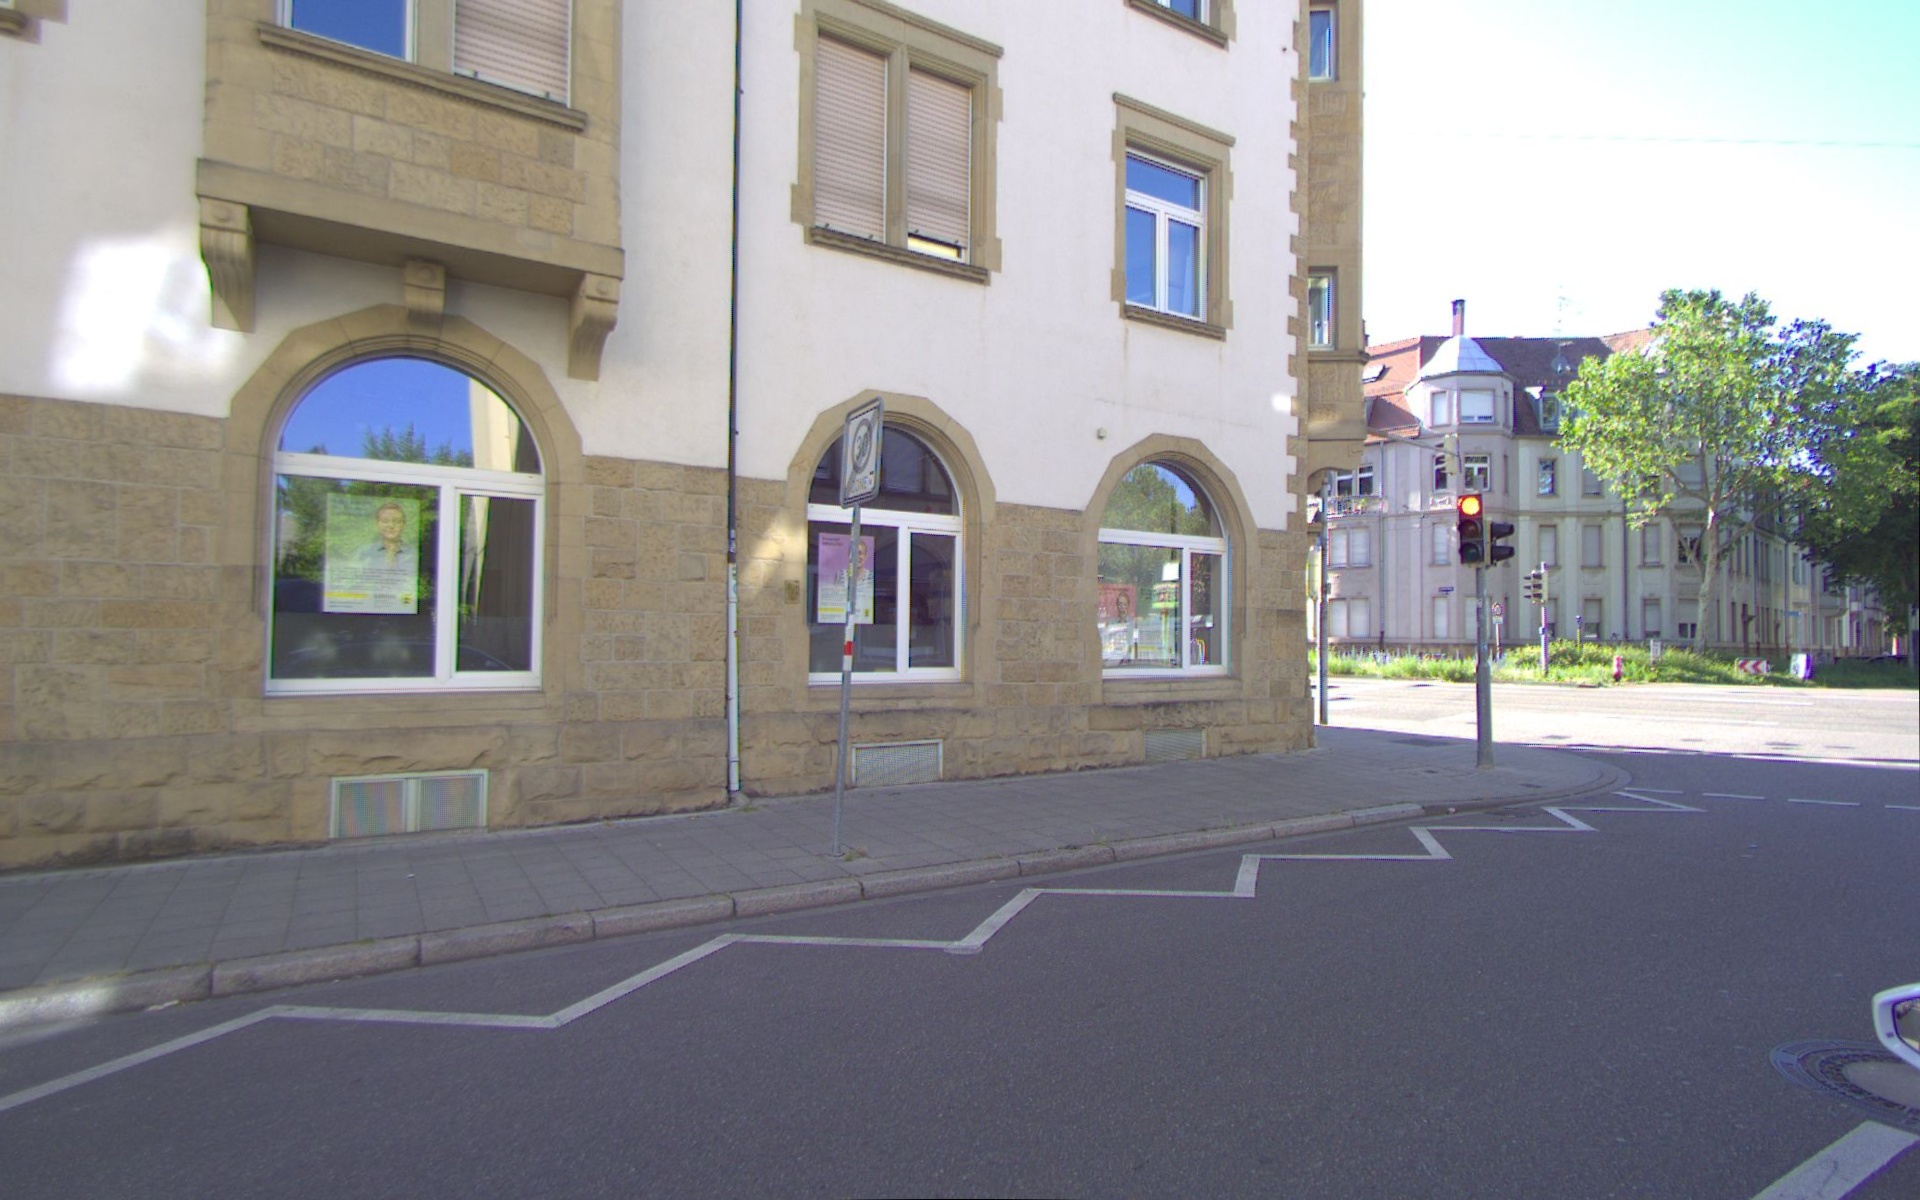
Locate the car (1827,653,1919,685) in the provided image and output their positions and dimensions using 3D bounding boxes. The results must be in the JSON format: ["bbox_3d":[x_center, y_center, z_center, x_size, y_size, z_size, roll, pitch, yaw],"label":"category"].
[{"bbox_3d":[45.820,3.431,50.026,3.943,1.505,1.673,-2,-3,42],"label":"car"}]

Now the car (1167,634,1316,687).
[{"bbox_3d":[8.465,1.796,30.385,3.944,1.336,1.812,2,-1,43],"label":"car"}]
